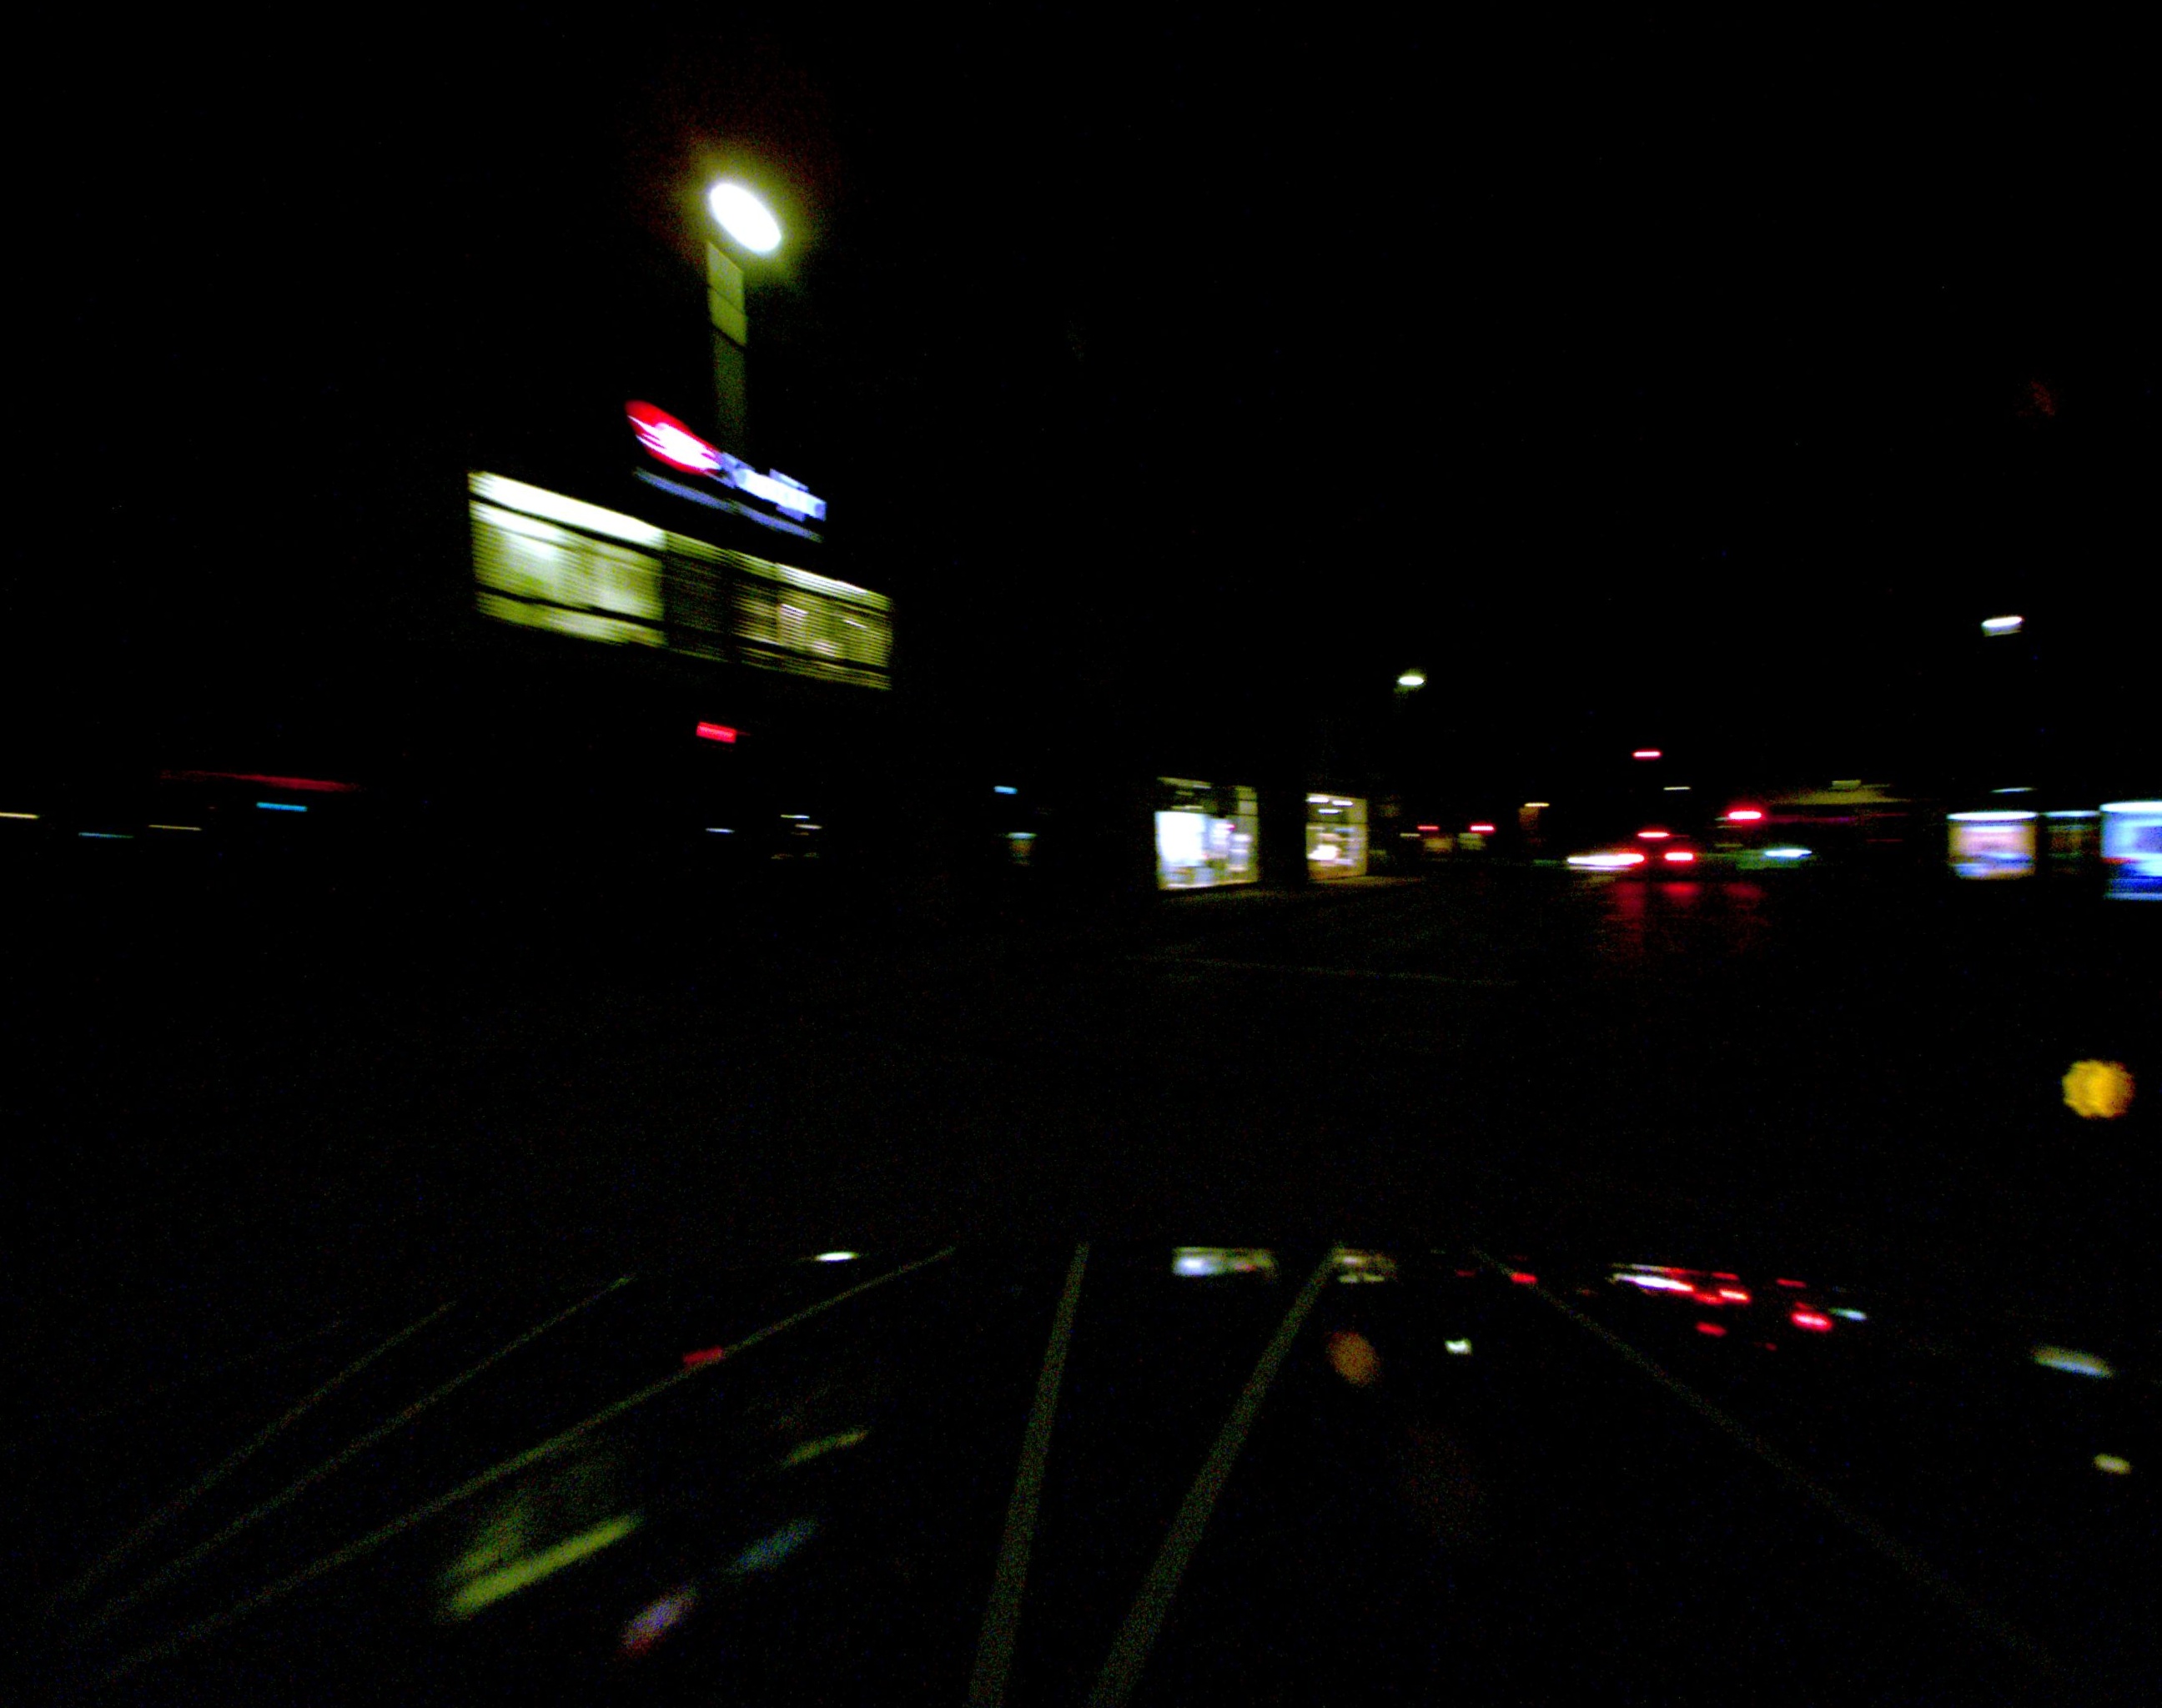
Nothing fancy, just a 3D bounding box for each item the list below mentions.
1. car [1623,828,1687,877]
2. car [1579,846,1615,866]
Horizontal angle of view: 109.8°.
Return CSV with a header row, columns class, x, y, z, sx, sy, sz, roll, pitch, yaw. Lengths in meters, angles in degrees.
class,x,y,z,sx,sy,sz,roll,pitch,yaw
car,24.212,-0.073,32.197,1.955,1.925,4.427,-2,0,35
car,42.112,0.148,61.953,1.994,1.562,4.008,-2,0,40
